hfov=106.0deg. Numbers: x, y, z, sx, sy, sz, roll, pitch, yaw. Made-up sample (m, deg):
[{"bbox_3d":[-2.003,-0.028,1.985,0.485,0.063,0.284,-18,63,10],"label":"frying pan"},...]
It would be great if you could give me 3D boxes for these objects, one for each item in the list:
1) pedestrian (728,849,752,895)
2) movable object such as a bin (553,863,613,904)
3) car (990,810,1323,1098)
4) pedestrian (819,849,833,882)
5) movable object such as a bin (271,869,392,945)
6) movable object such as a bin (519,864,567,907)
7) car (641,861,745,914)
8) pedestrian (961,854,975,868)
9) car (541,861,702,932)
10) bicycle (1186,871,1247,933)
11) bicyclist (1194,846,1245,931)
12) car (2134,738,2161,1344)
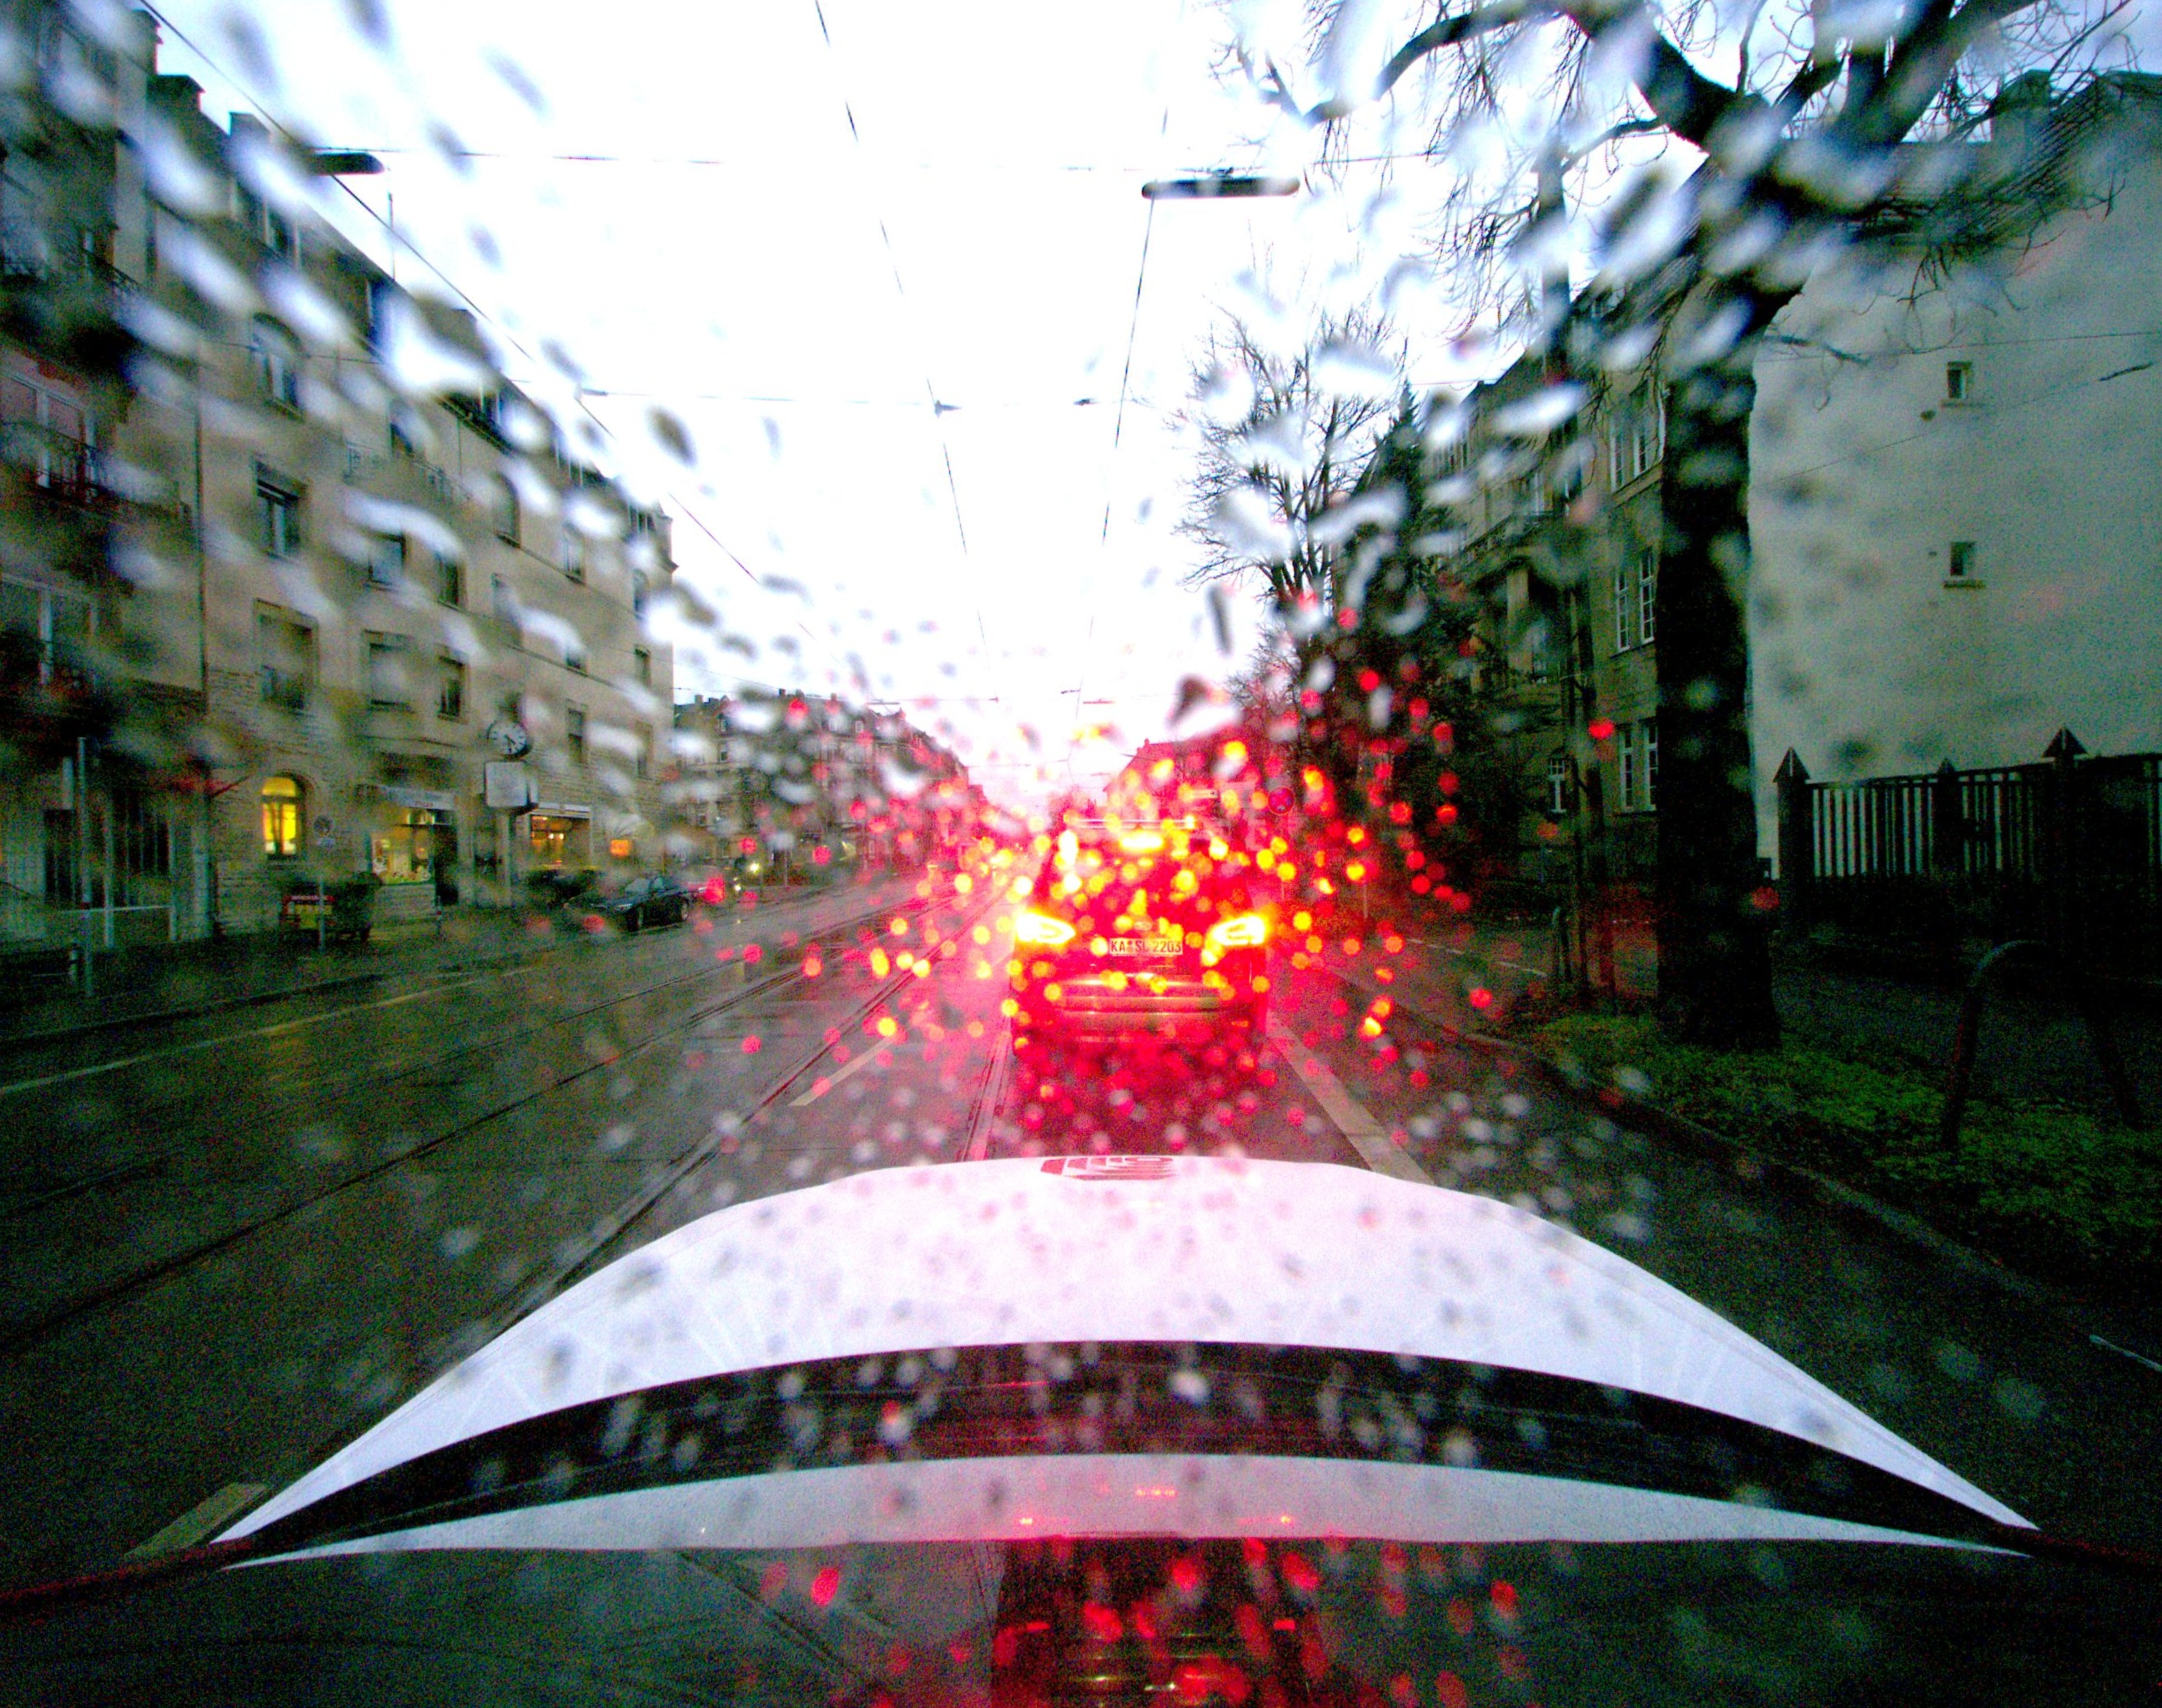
[{"bbox_3d":[-15.016,0.795,35.898,0.748,2.014,0.652,-1,-1,34],"label":"pedestrian"},{"bbox_3d":[-17.340,1.018,28.380,1.290,1.367,1.251,-1,0,-2],"label":"movable object such as a bin"},{"bbox_3d":[0.494,0.627,7.483,2.097,1.816,4.660,0,0,0],"label":"car"},{"bbox_3d":[-15.782,0.735,50.391,0.707,2.013,0.656,-1,0,-21],"label":"pedestrian"},{"bbox_3d":[-15.069,1.041,16.426,1.264,1.420,1.249,-1,0,-2],"label":"movable object such as a bin"},{"bbox_3d":[-17.860,1.026,27.052,0.896,1.377,1.006,-1,0,-2],"label":"movable object such as a bin"},{"bbox_3d":[-13.372,1.107,28.343,2.035,1.551,4.022,2,0,-7],"label":"car"},{"bbox_3d":[-9.475,0.599,68.456,1.044,1.200,0.884,-1,-1,-1],"label":"pedestrian"},{"bbox_3d":[-12.484,1.082,22.539,1.982,1.645,4.623,3,-1,-4],"label":"car"},{"bbox_3d":[2.779,0.959,16.852,0.716,1.112,1.937,3,0,-6],"label":"bicycle"},{"bbox_3d":[2.815,0.679,16.660,0.716,1.662,1.054,2,0,-6],"label":"bicyclist"},{"bbox_3d":[4.416,0.554,0.117,2.025,1.875,4.960,-2,0,-2],"label":"car"}]
